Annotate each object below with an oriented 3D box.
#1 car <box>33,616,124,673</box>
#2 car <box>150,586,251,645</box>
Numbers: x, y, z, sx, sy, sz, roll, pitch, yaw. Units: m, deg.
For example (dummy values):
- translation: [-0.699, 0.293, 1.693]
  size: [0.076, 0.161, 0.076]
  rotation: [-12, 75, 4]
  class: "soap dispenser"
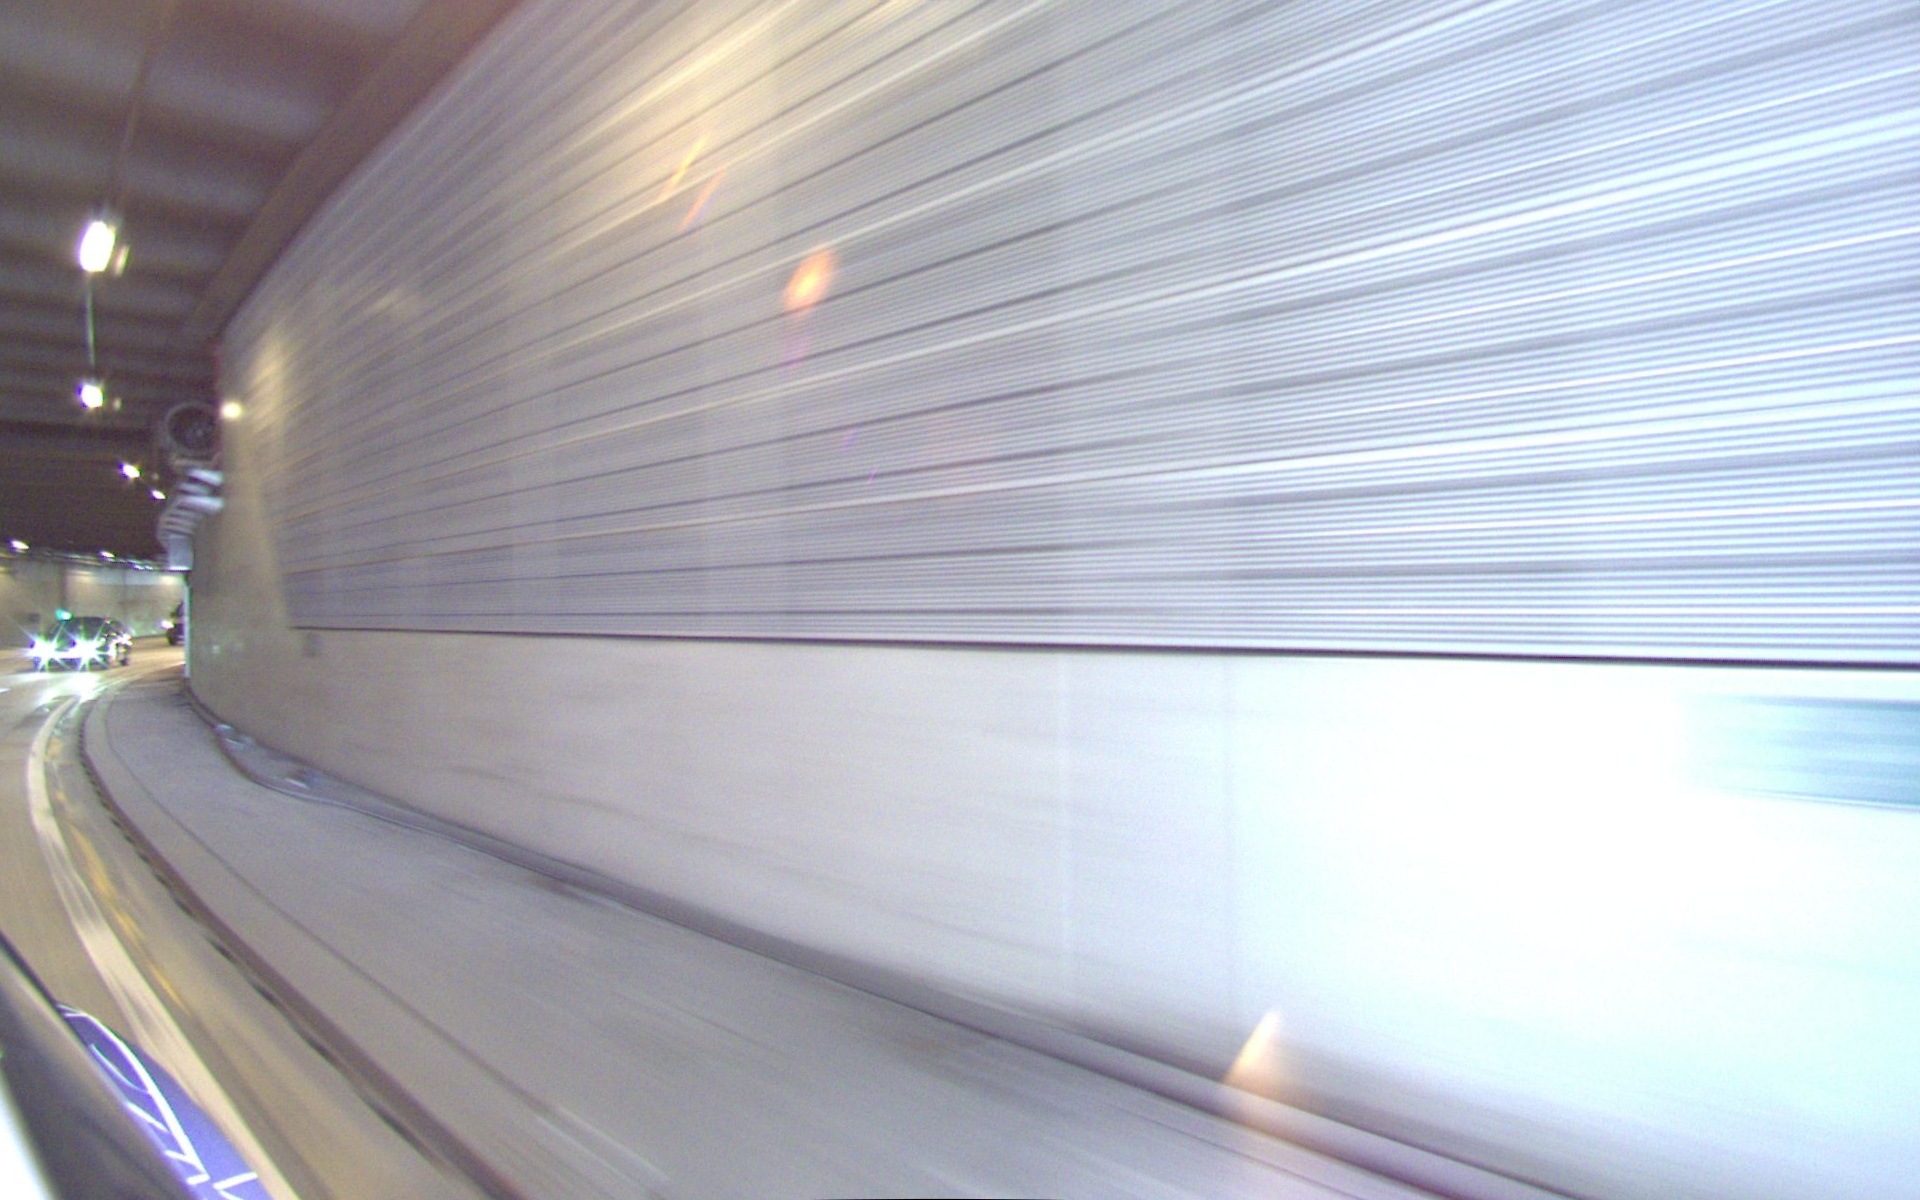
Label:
- translation: [-25.315, 1.222, 29.164]
  size: [1.695, 1.475, 4.009]
  rotation: [-1, 0, -37]
  class: "car"
- translation: [-39.314, 0.775, 52.633]
  size: [2.517, 2.789, 7.375]
  rotation: [-1, 0, -23]
  class: "car"
